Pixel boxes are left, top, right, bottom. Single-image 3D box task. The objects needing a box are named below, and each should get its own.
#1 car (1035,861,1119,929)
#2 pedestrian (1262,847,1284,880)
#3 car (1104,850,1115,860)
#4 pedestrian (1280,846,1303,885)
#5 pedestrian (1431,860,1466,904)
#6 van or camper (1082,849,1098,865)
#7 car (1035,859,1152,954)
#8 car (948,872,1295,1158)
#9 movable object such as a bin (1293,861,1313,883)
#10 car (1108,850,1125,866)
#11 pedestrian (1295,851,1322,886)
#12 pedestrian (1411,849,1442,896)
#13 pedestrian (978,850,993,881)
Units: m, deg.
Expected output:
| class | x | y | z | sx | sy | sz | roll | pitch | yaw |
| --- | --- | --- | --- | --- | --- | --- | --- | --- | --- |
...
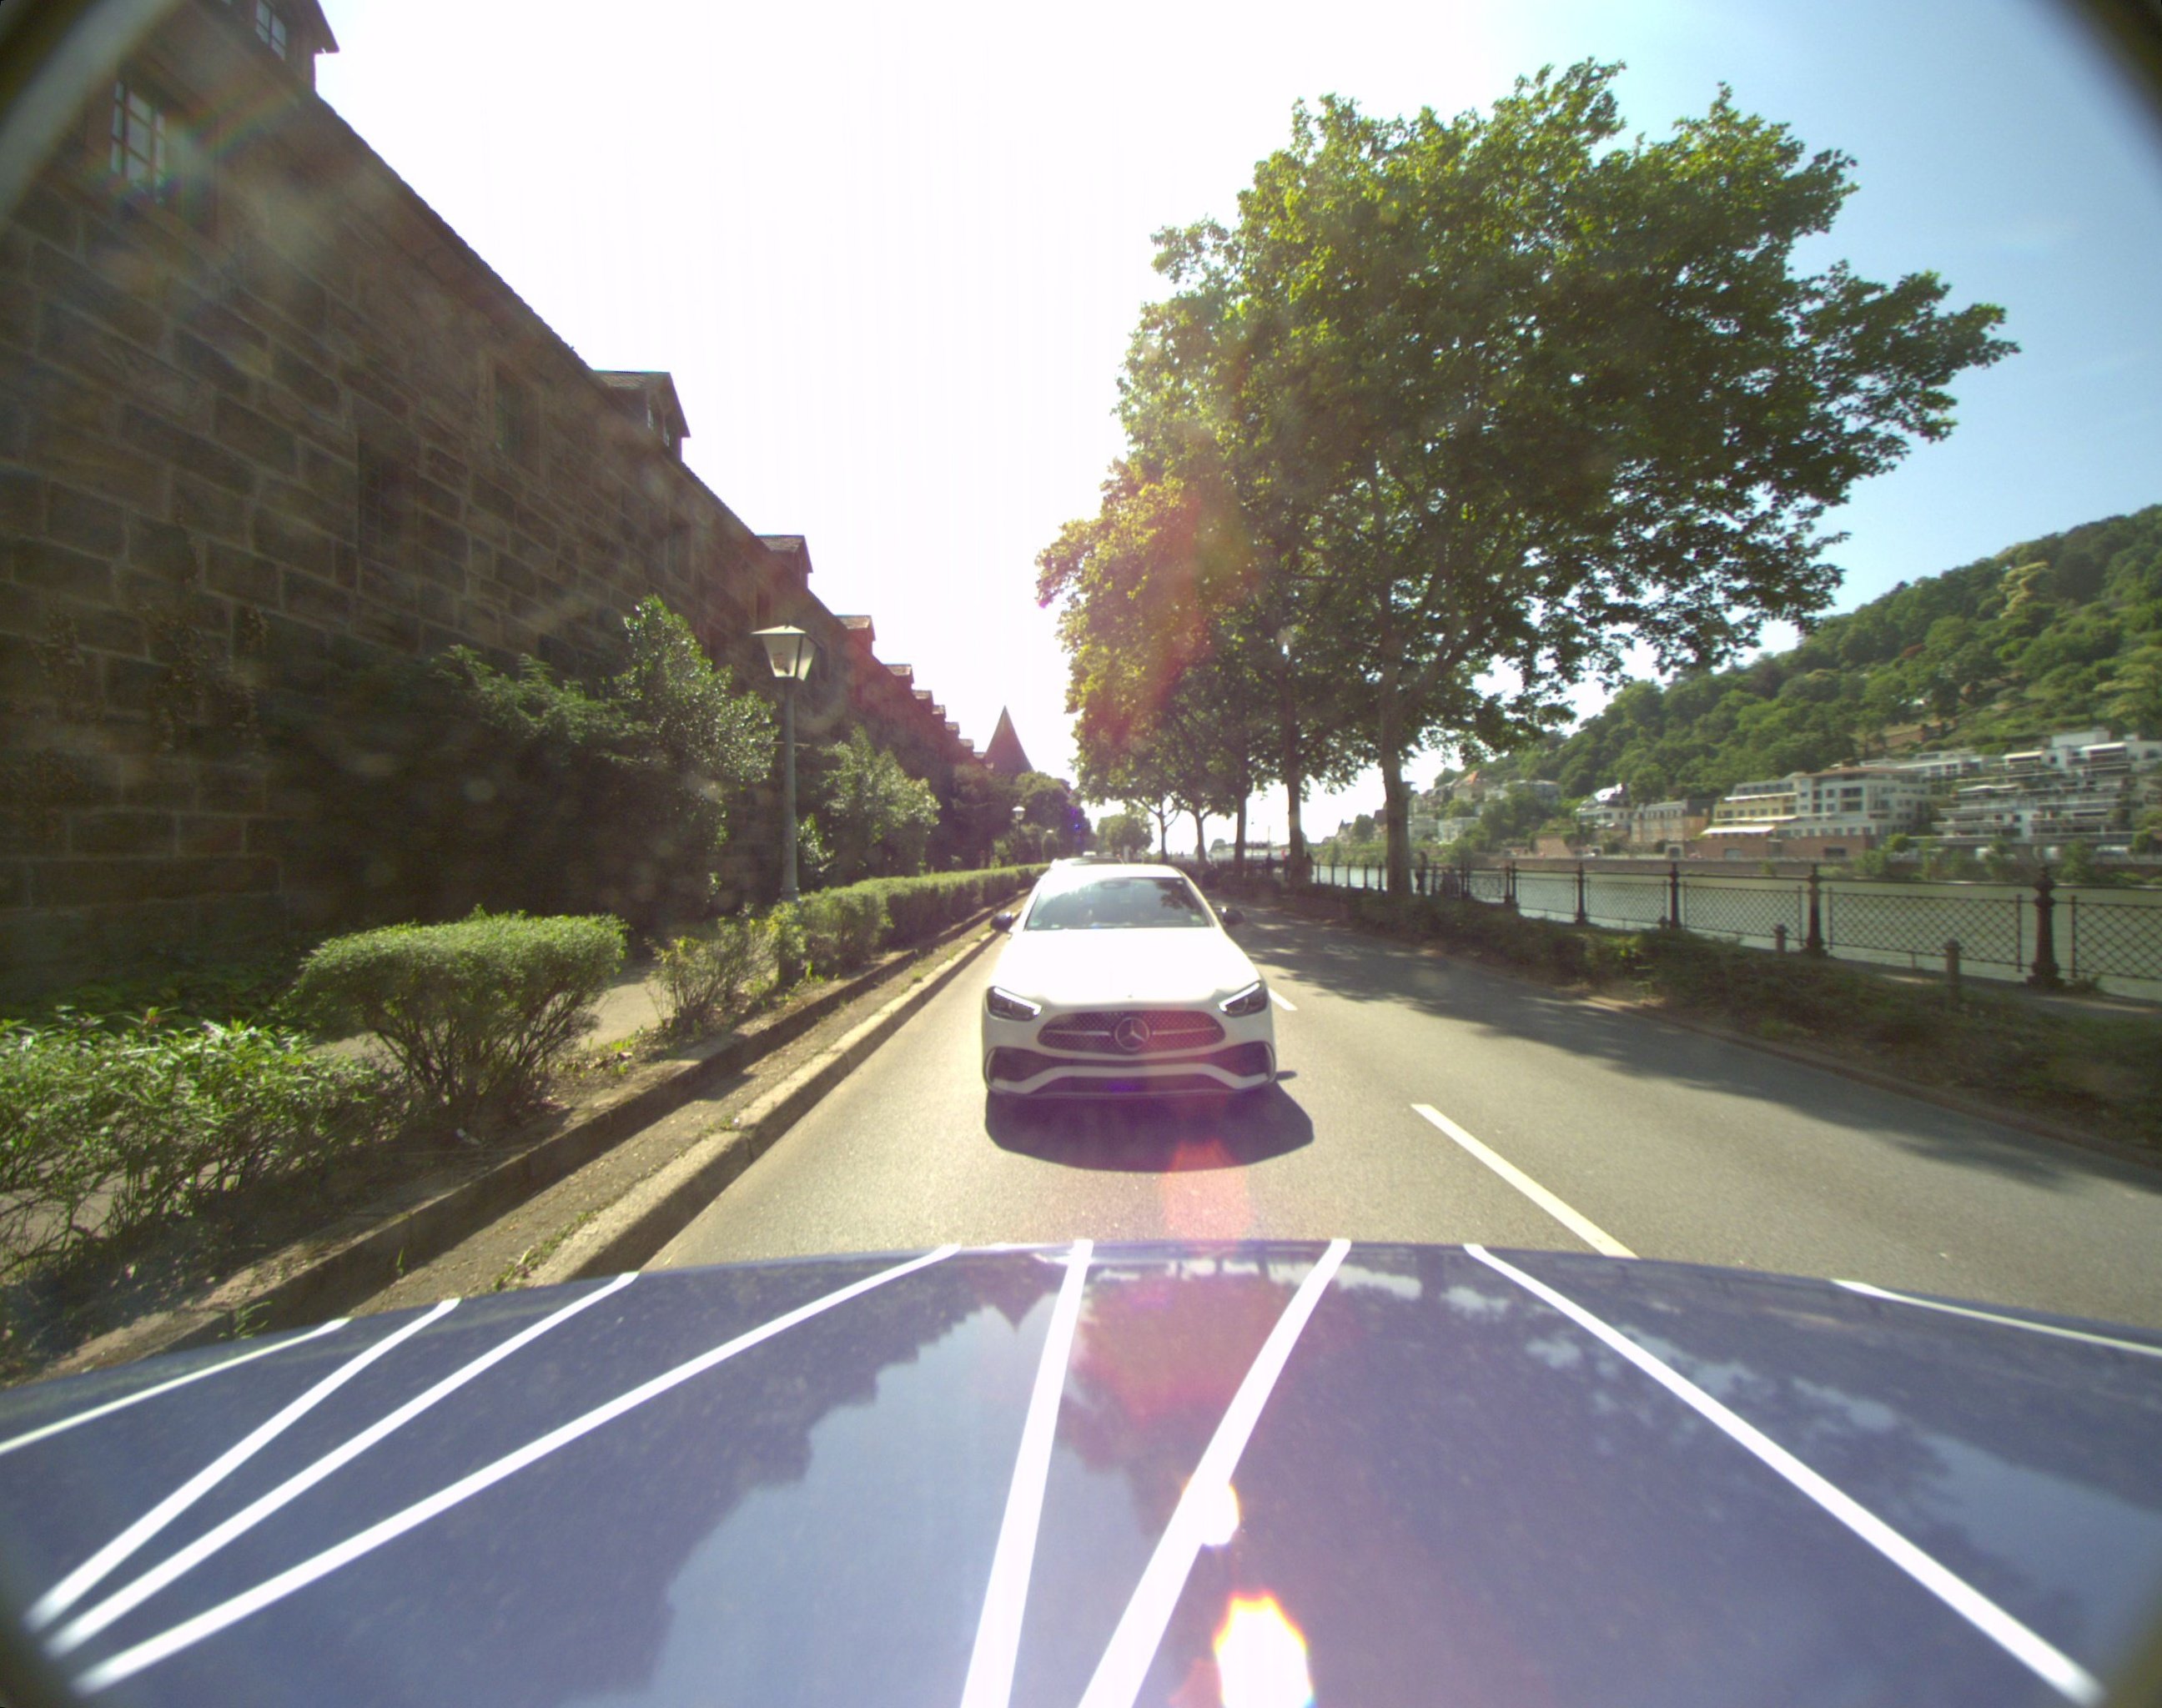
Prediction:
| class | x | y | z | sx | sy | sz | roll | pitch | yaw |
| --- | --- | --- | --- | --- | --- | --- | --- | --- | --- |
| car | -0.059 | 0.931 | 19.118 | 1.833 | 1.395 | 4.424 | -2 | 0 | 1 |
| pedestrian | 12.099 | 0.596 | 47.889 | 1.047 | 2.002 | 1.036 | -1 | 1 | 31 |
| car | 6.124 | 0.107 | 161.635 | 2.165 | 2.002 | 4.000 | -2 | 1 | 1 |
| pedestrian | 10.199 | 0.544 | 36.856 | 0.806 | 1.839 | 0.929 | -2 | 1 | 1 |
| pedestrian | 11.981 | 0.907 | 24.784 | 0.768 | 1.379 | 0.770 | 1 | 0 | 0 |
| van or camper | 1.350 | 0.405 | 117.235 | 2.313 | 2.358 | 5.035 | 1 | 0 | 0 |
| car | 0.231 | 0.862 | 14.316 | 1.833 | 1.428 | 4.270 | -2 | 0 | 1 |
| car | 0.250 | 0.928 | 6.254 | 1.833 | 1.395 | 4.270 | -2 | 0 | 1 |
| movable object such as a bin | 10.942 | 0.888 | 37.443 | 0.704 | 1.043 | 0.783 | -2 | 1 | -3 |
| car | 4.790 | 0.556 | 103.860 | 2.165 | 2.002 | 4.000 | -2 | 1 | 1 |
| pedestrian | 10.926 | 0.695 | 36.531 | 0.898 | 1.625 | 1.058 | -2 | 1 | -4 |
| pedestrian | 12.987 | 0.695 | 28.591 | 0.777 | 1.748 | 0.830 | 1 | 1 | 0 |
| pedestrian | -4.823 | 0.578 | 38.339 | 0.643 | 1.555 | 0.563 | -2 | 1 | 1 |
